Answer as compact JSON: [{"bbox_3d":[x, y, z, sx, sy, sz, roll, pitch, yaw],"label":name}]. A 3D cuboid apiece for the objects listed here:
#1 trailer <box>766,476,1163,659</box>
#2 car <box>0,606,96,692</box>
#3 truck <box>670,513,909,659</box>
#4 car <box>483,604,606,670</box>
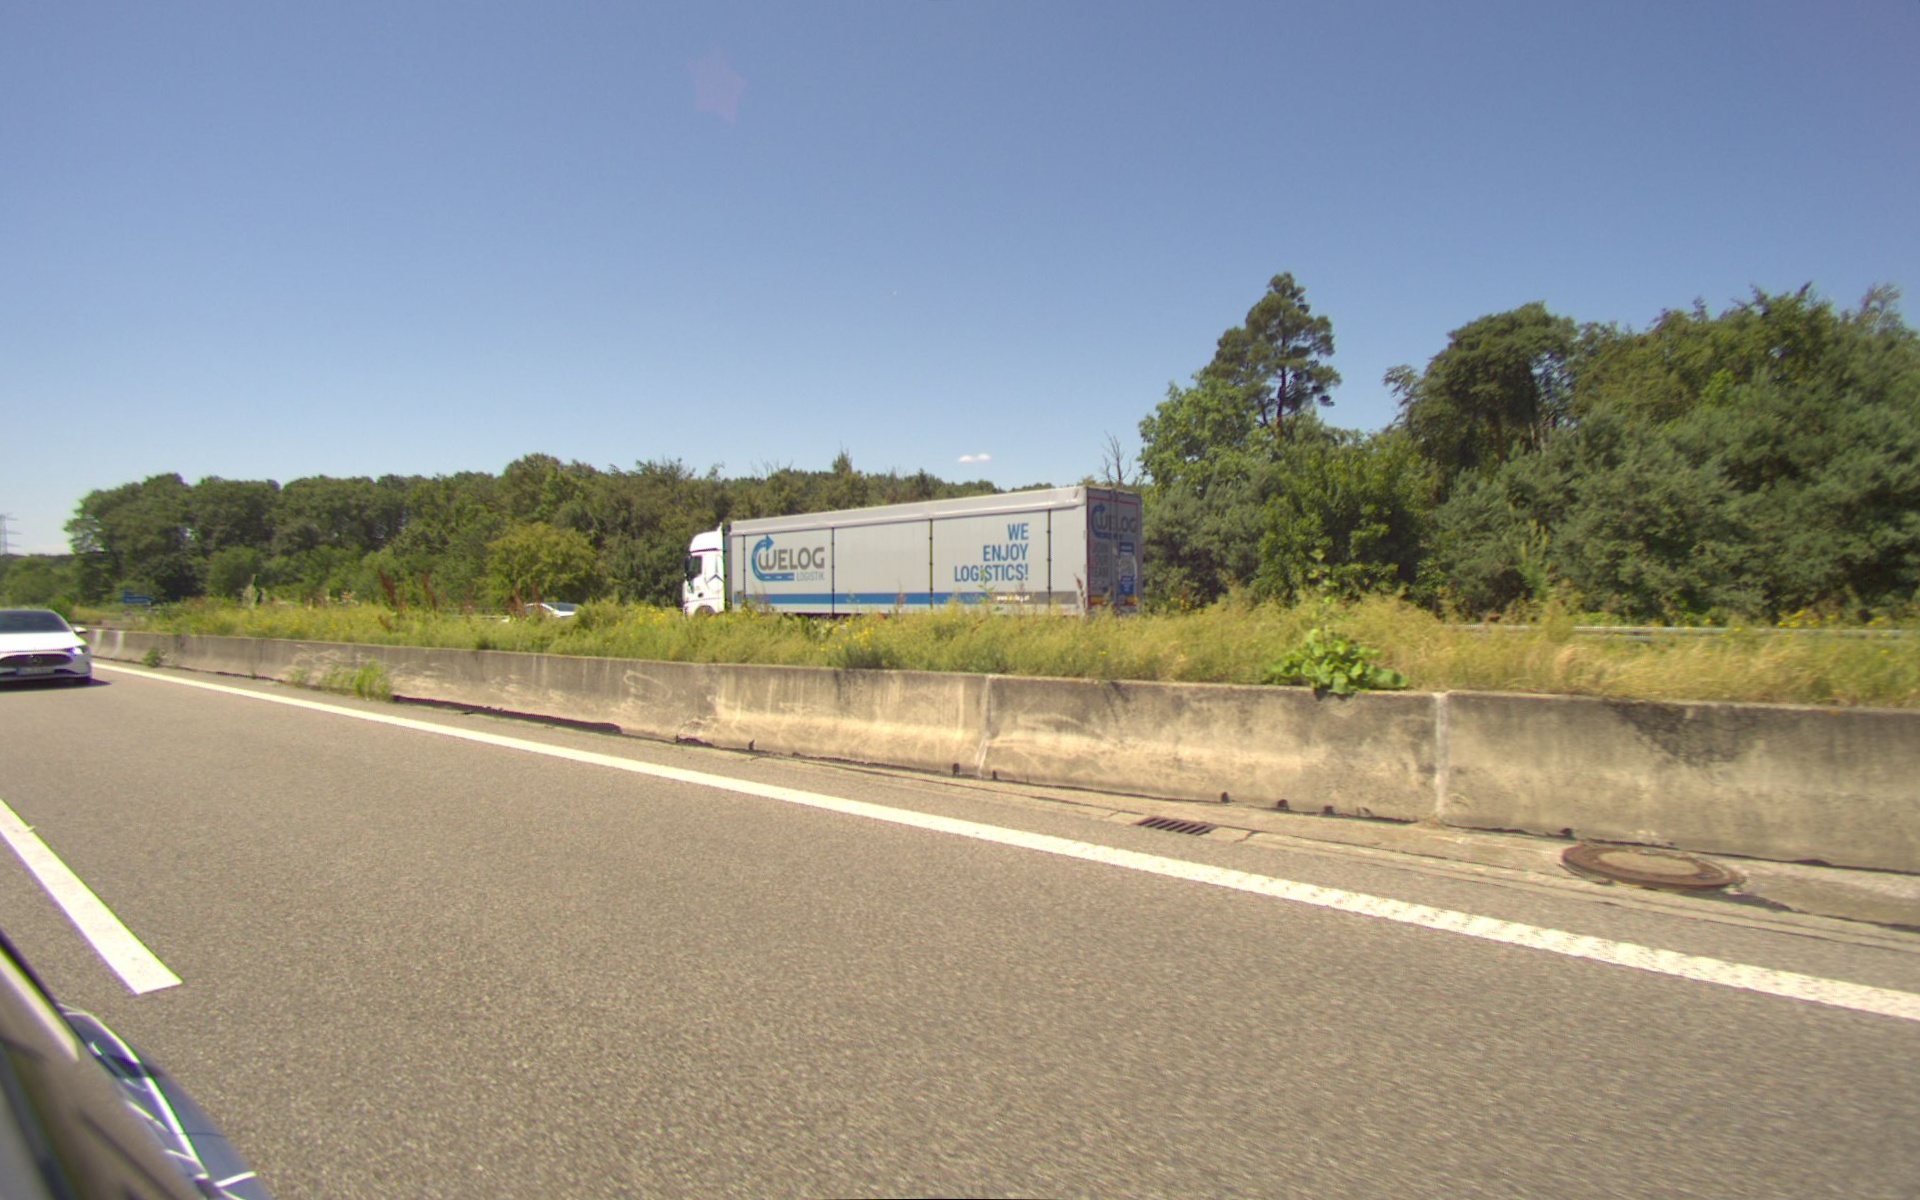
[{"bbox_3d":[-0.421,-0.656,27.638,11.768,4.107,2.953,-1,0,41],"label":"trailer"},{"bbox_3d":[-18.238,0.884,19.423,5.105,1.459,1.749,-1,1,41],"label":"car"},{"bbox_3d":[-5.597,-0.351,32.177,8.189,4.107,2.953,-1,0,41],"label":"truck"},{"bbox_3d":[-13.931,1.181,33.827,4.585,2.029,1.973,-1,0,41],"label":"car"}]
